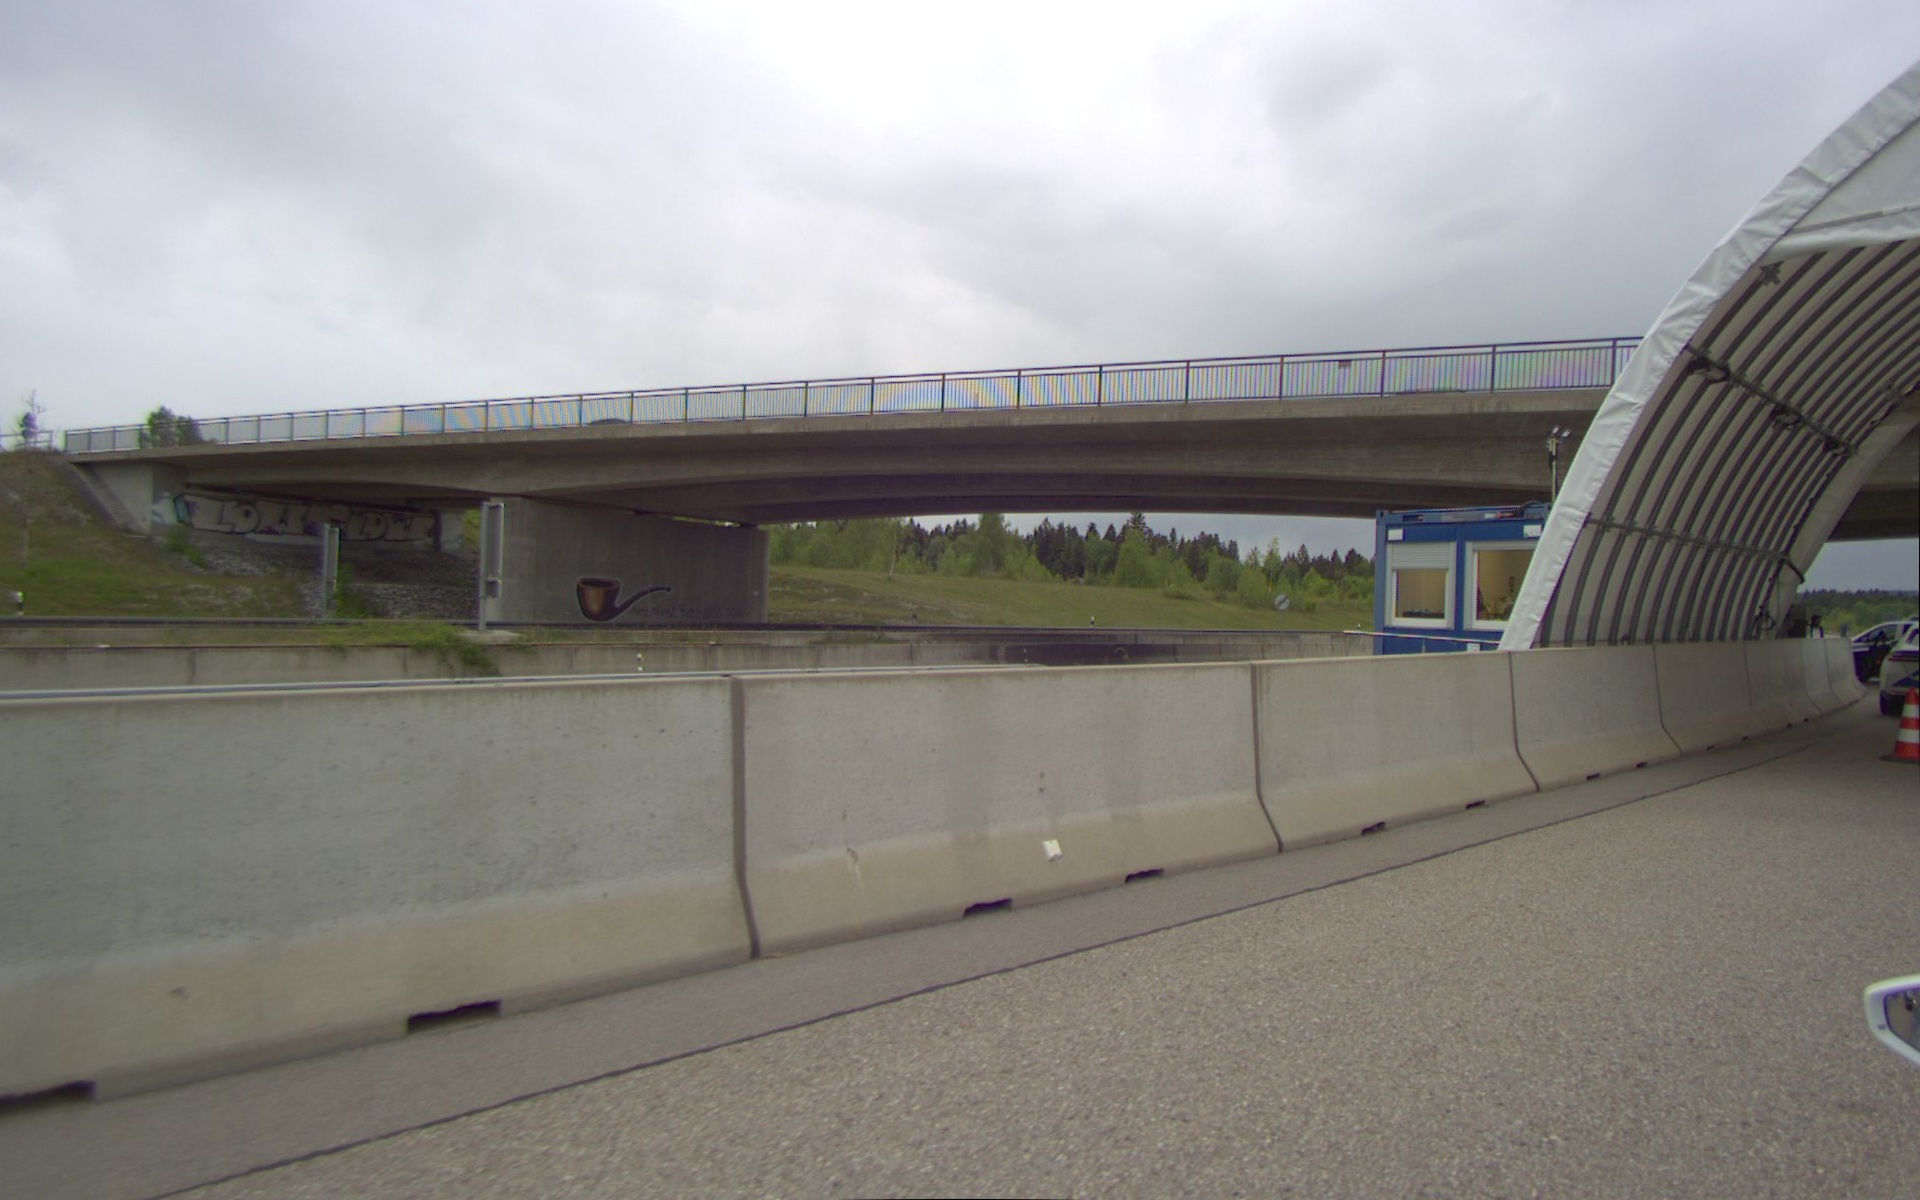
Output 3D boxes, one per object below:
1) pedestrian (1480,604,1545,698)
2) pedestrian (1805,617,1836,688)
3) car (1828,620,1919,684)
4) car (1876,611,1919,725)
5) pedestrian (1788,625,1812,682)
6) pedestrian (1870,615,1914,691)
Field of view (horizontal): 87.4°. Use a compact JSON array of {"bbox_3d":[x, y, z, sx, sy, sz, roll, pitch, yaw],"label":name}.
[{"bbox_3d":[8.416,0.774,15.308,0.618,1.391,0.609,1,-1,-20],"label":"pedestrian"},{"bbox_3d":[25.191,1.533,29.393,0.652,2.040,0.618,2,-1,-44],"label":"pedestrian"},{"bbox_3d":[31.678,1.704,32.787,1.813,2.040,4.799,1,-1,-20],"label":"car"},{"bbox_3d":[15.779,1.038,15.697,3.971,1.668,1.860,2,-2,-43],"label":"car"},{"bbox_3d":[23.427,1.490,28.016,0.496,1.567,0.460,0,-1,42],"label":"pedestrian"},{"bbox_3d":[25.314,1.423,27.282,0.684,2.040,0.698,1,-1,-29],"label":"pedestrian"}]
